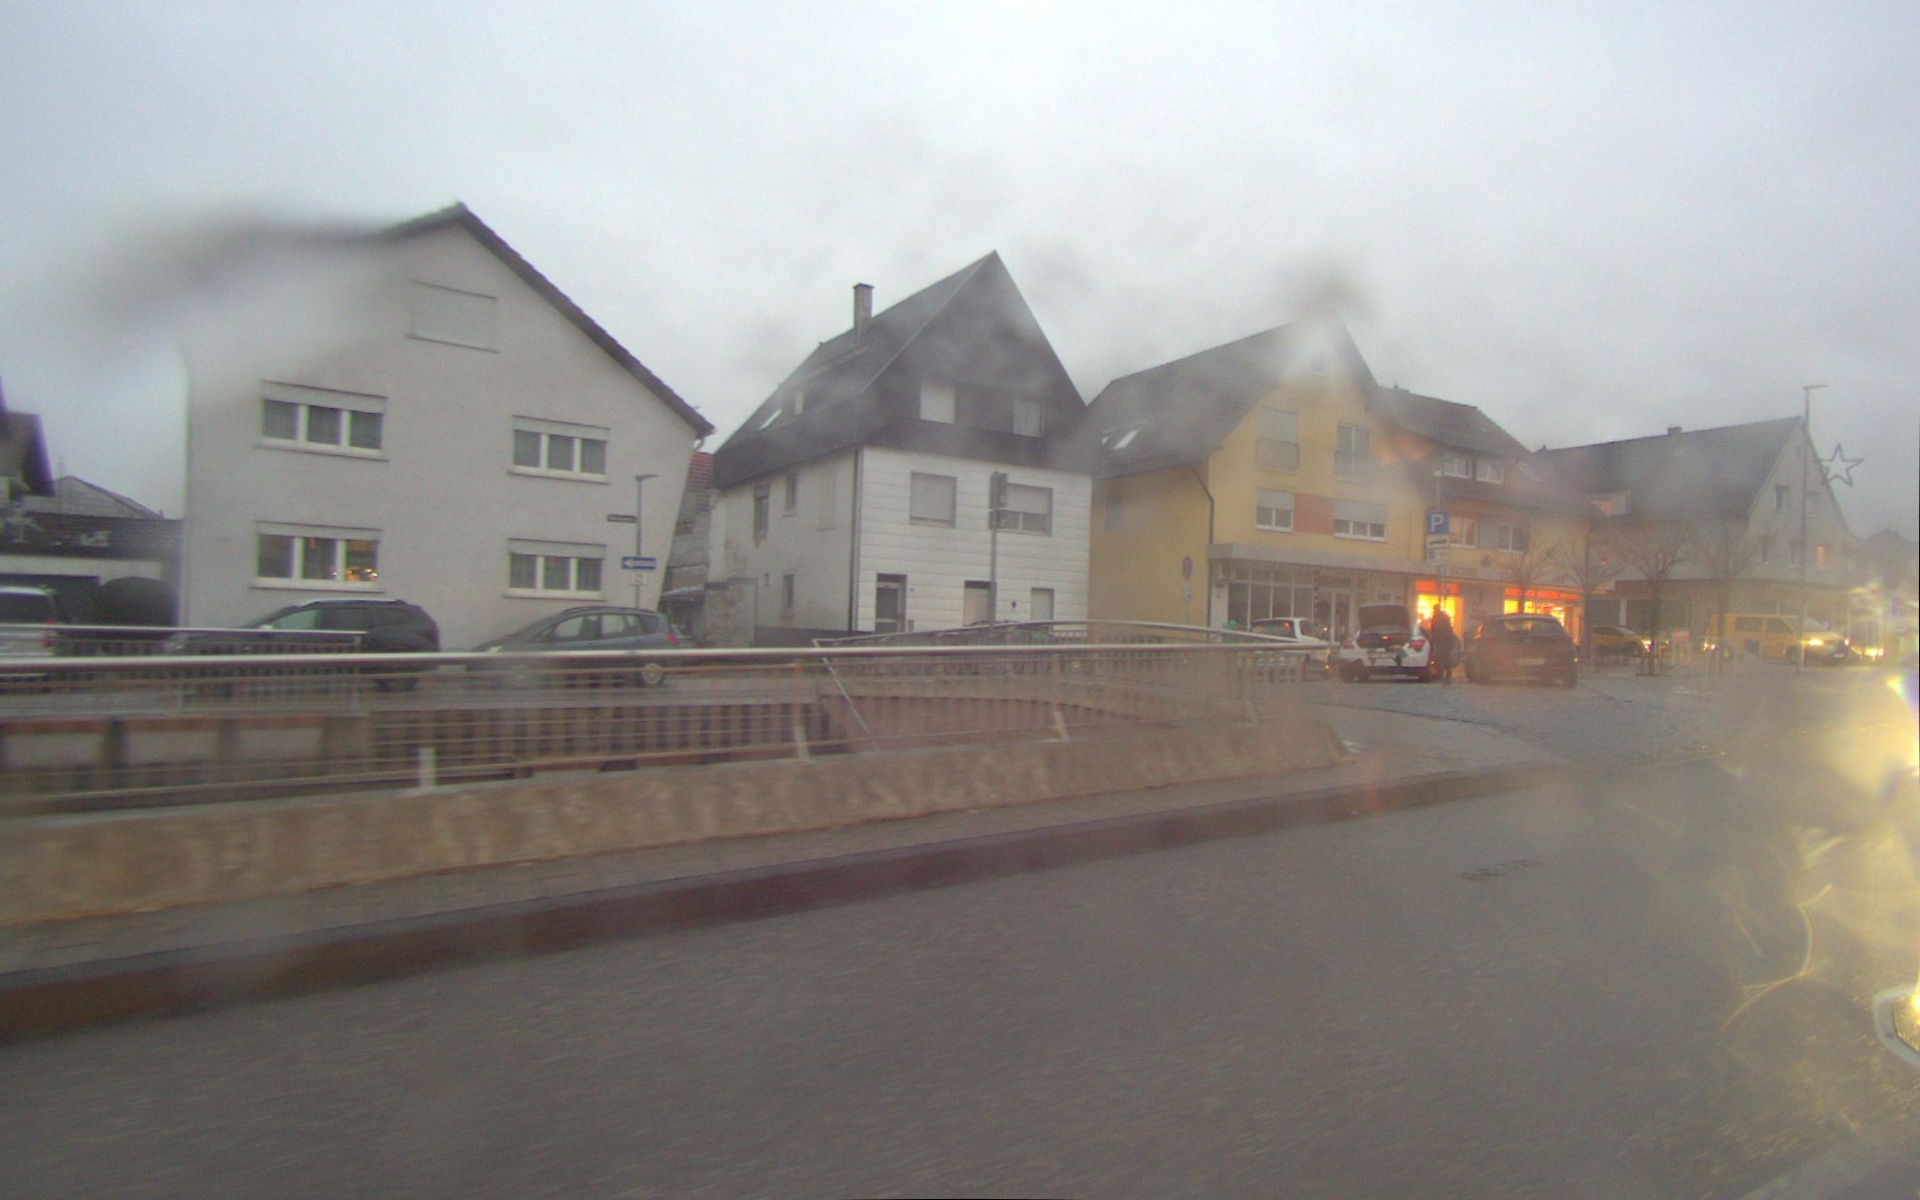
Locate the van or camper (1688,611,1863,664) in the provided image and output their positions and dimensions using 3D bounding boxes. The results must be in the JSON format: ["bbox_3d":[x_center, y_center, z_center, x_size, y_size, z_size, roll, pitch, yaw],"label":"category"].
[{"bbox_3d":[32.776,1.437,40.652,1.965,1.980,5.537,1,-1,-11],"label":"van or camper"}]

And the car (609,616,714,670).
[{"bbox_3d":[-8.807,1.219,29.454,1.824,1.432,3.962,1,-1,-34],"label":"car"}]

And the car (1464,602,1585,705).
[{"bbox_3d":[12.022,1.053,21.259,2.009,1.951,4.046,0,-1,32],"label":"car"}]

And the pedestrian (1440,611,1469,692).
[{"bbox_3d":[10.819,1.115,21.972,0.489,1.724,0.711,-1,-2,33],"label":"pedestrian"}]

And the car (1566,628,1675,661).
[{"bbox_3d":[30.871,2.057,47.039,1.709,1.383,3.963,1,-1,-33],"label":"car"}]

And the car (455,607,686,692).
[{"bbox_3d":[-8.059,0.979,20.875,4.173,1.583,1.899,1,-1,-34],"label":"car"}]

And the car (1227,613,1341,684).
[{"bbox_3d":[8.259,1.166,25.373,1.796,1.634,4.046,0,-1,32],"label":"car"}]

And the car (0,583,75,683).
[{"bbox_3d":[-17.809,0.598,18.627,1.848,1.716,3.956,1,-2,-38],"label":"car"}]

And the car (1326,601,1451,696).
[{"bbox_3d":[9.865,1.029,22.955,2.009,1.951,4.046,0,-1,32],"label":"car"}]

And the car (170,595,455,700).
[{"bbox_3d":[-11.680,0.807,18.299,4.178,1.705,1.897,1,-1,-37],"label":"car"}]
